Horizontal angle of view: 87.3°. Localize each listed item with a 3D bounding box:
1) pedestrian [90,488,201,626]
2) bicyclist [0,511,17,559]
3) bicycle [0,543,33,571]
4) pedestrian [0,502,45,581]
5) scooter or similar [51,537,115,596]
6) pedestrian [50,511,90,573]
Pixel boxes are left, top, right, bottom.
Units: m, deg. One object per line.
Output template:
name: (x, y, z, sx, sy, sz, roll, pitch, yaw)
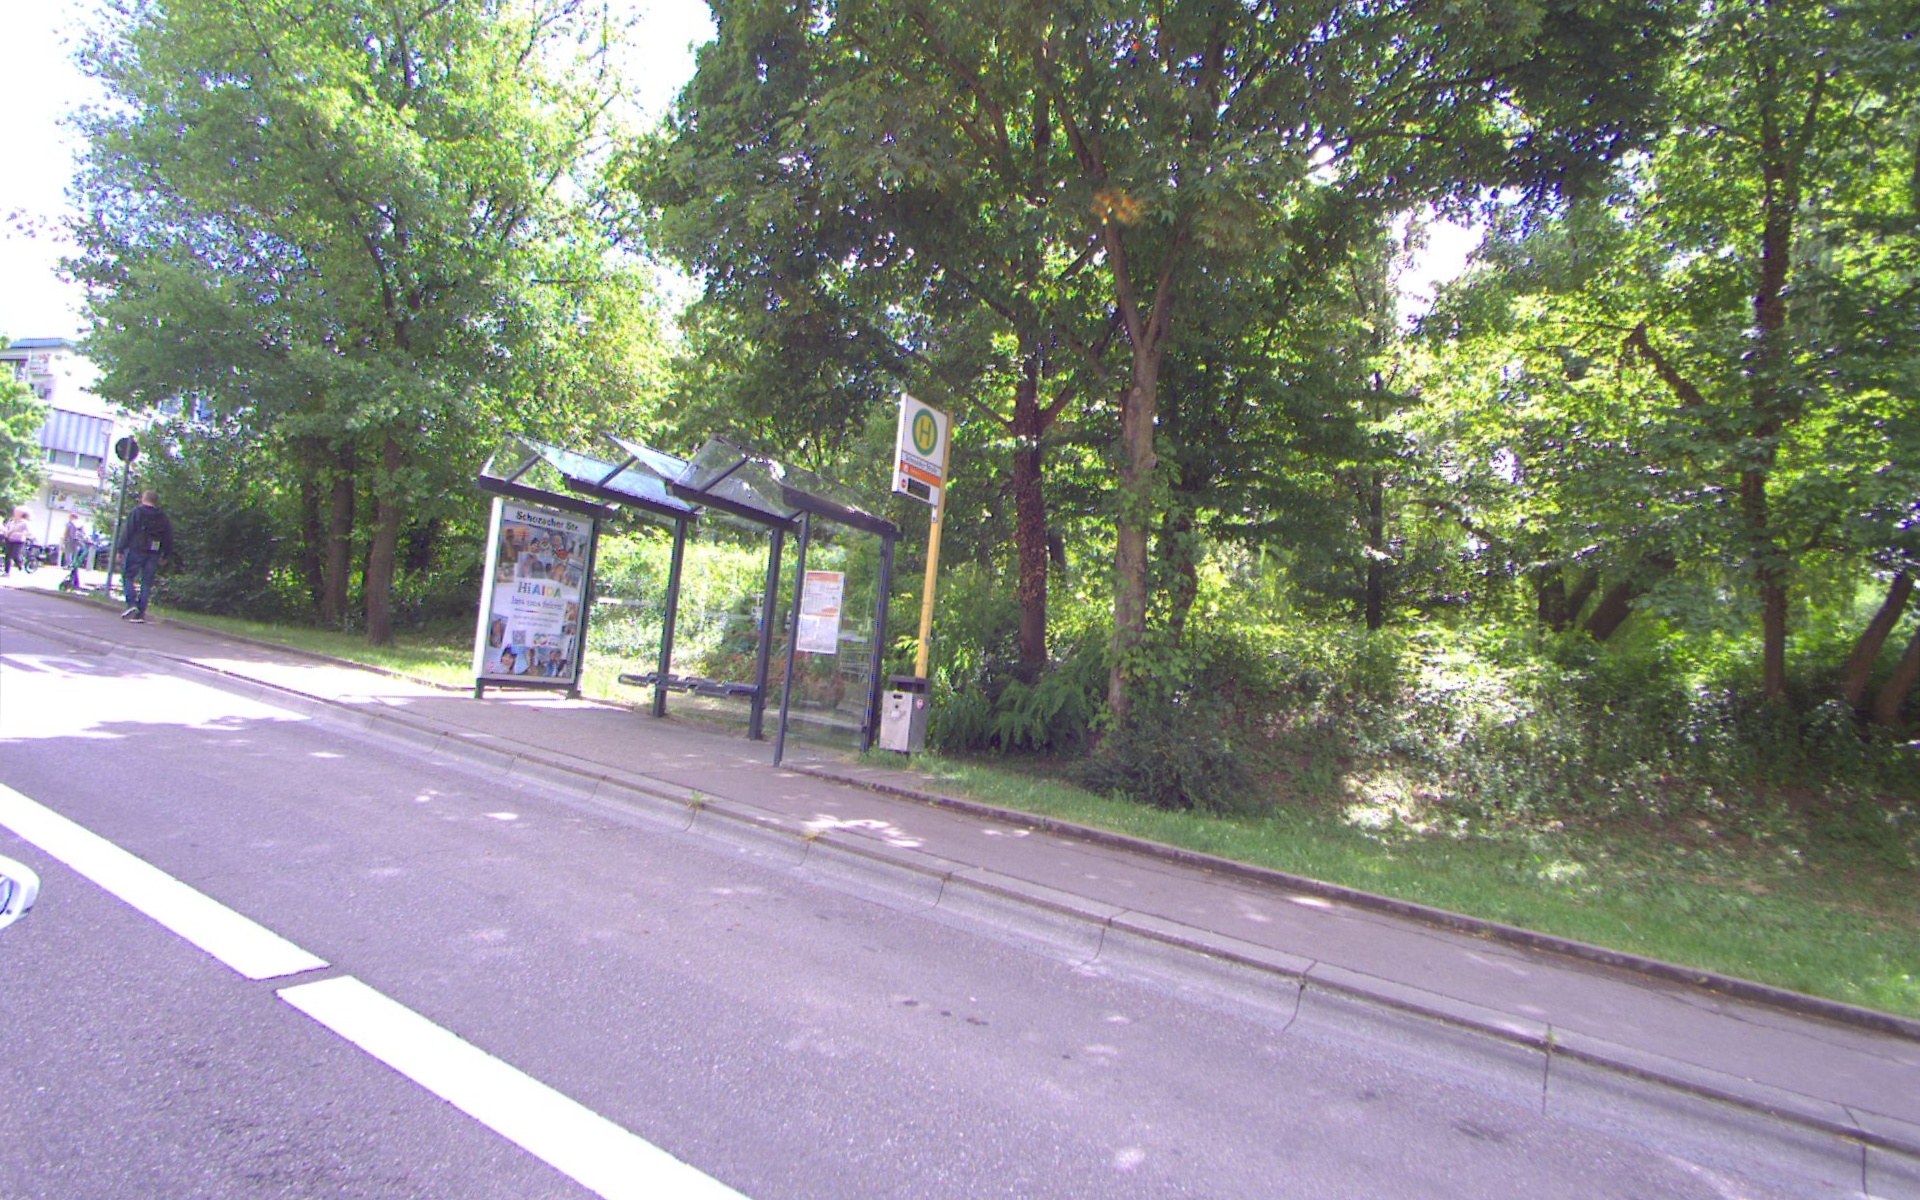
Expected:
pedestrian: (-12.073, -0.630, 14.926, 0.996, 1.898, 0.797, 6, -1, 29)
bicyclist: (-24.234, -1.656, 25.323, 0.393, 1.170, 0.502, 7, -1, -9)
bicycle: (-24.464, -1.147, 25.329, 1.564, 0.617, 0.533, 8, -1, -11)
pedestrian: (-22.763, -1.398, 24.219, 0.511, 1.778, 0.639, 1, -12, 37)
scooter or similar: (-20.236, -0.764, 23.223, 0.878, 1.245, 0.454, 7, -1, -12)
pedestrian: (-26.563, -1.735, 30.025, 0.647, 1.733, 0.462, 7, -1, 17)
